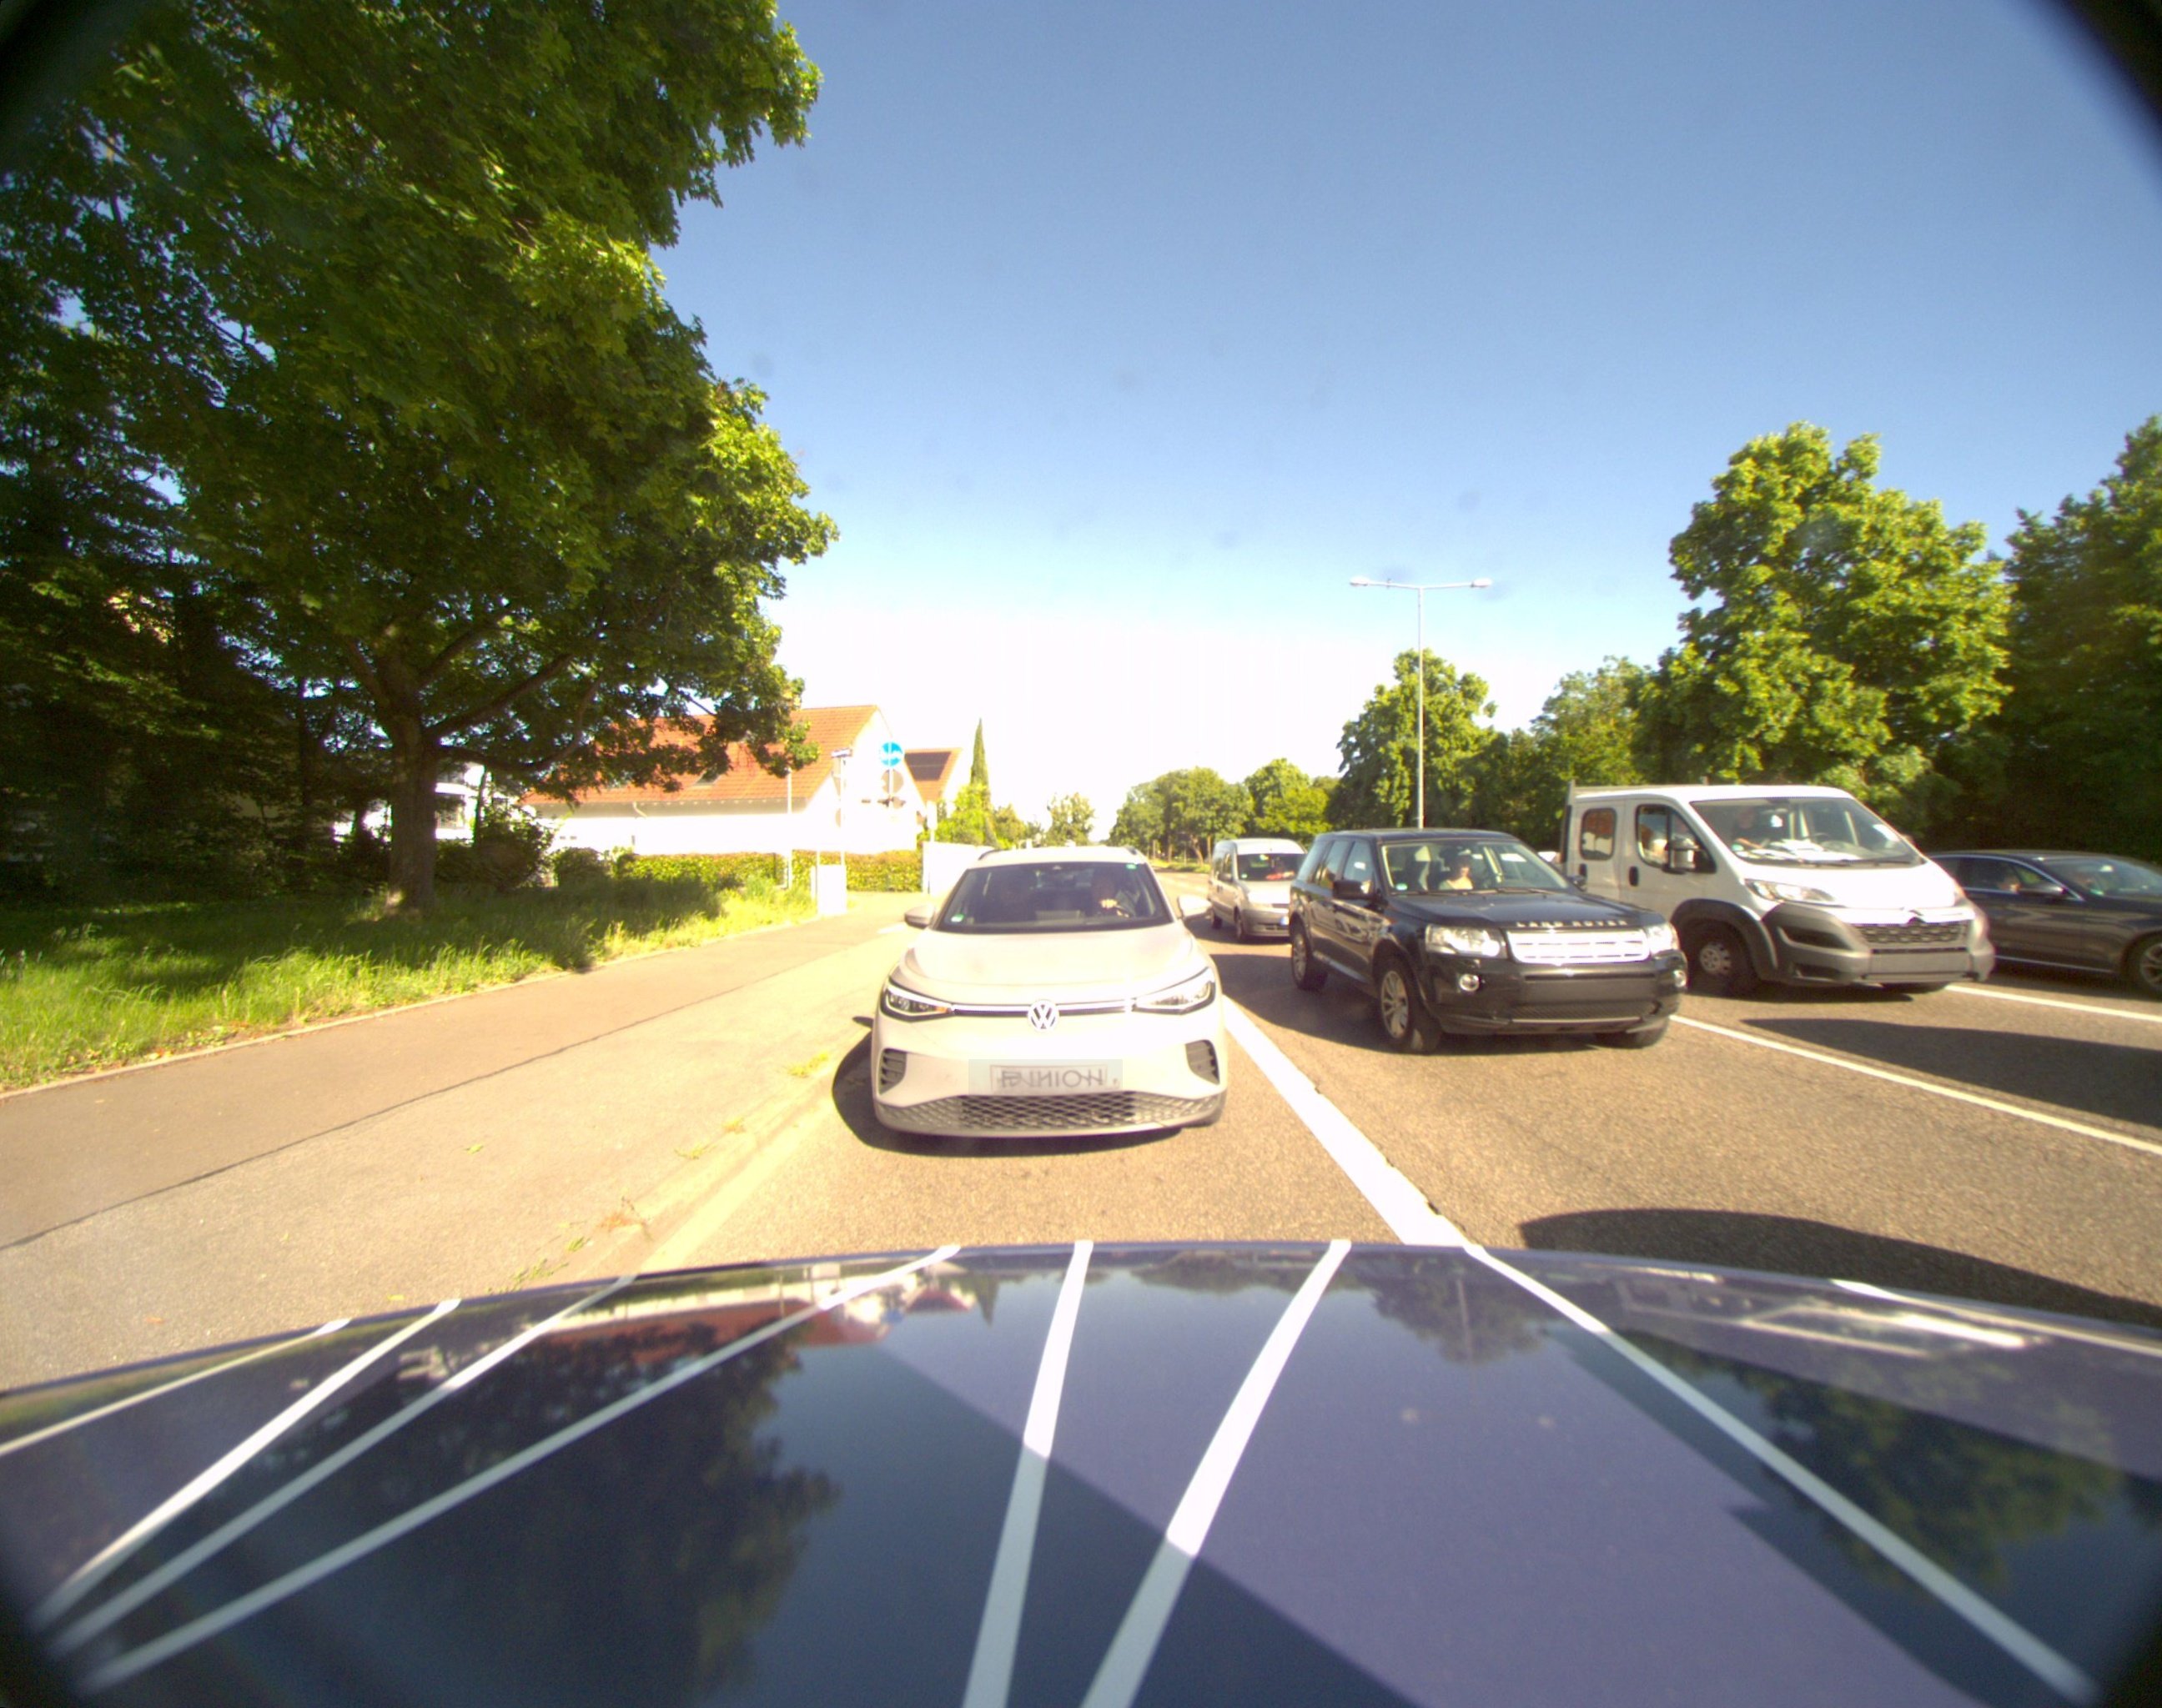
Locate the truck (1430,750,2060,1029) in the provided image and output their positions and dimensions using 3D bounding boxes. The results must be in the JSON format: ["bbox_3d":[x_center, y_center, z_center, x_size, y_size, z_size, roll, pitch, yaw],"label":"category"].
[{"bbox_3d":[7.209,0.263,9.860,2.185,2.307,6.842,-2,1,0],"label":"truck"}]

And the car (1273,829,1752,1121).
[{"bbox_3d":[3.162,0.710,6.783,1.816,1.721,4.386,-2,1,1],"label":"car"}]

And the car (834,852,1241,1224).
[{"bbox_3d":[-0.173,0.844,5.588,1.858,1.679,4.206,0,1,1],"label":"car"}]

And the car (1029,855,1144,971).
[{"bbox_3d":[0.105,0.861,13.031,1.632,1.586,4.024,-2,1,1],"label":"car"}]

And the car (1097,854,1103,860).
[{"bbox_3d":[4.994,0.775,201.441,1.704,1.466,3.931,0,0,1],"label":"car"}]

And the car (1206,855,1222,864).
[{"bbox_3d":[20.453,0.852,117.249,1.792,1.409,4.000,0,0,1],"label":"car"}]

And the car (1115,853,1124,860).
[{"bbox_3d":[8.059,0.477,159.671,1.704,1.466,3.931,-1,0,0],"label":"car"}]

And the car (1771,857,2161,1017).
[{"bbox_3d":[10.698,0.774,8.558,1.816,1.382,4.385,1,1,-1],"label":"car"}]

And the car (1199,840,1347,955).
[{"bbox_3d":[3.321,0.648,13.978,1.632,1.741,4.386,-2,1,1],"label":"car"}]

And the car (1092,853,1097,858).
[{"bbox_3d":[4.537,0.561,255.325,1.726,1.630,4.000,0,0,1],"label":"car"}]
